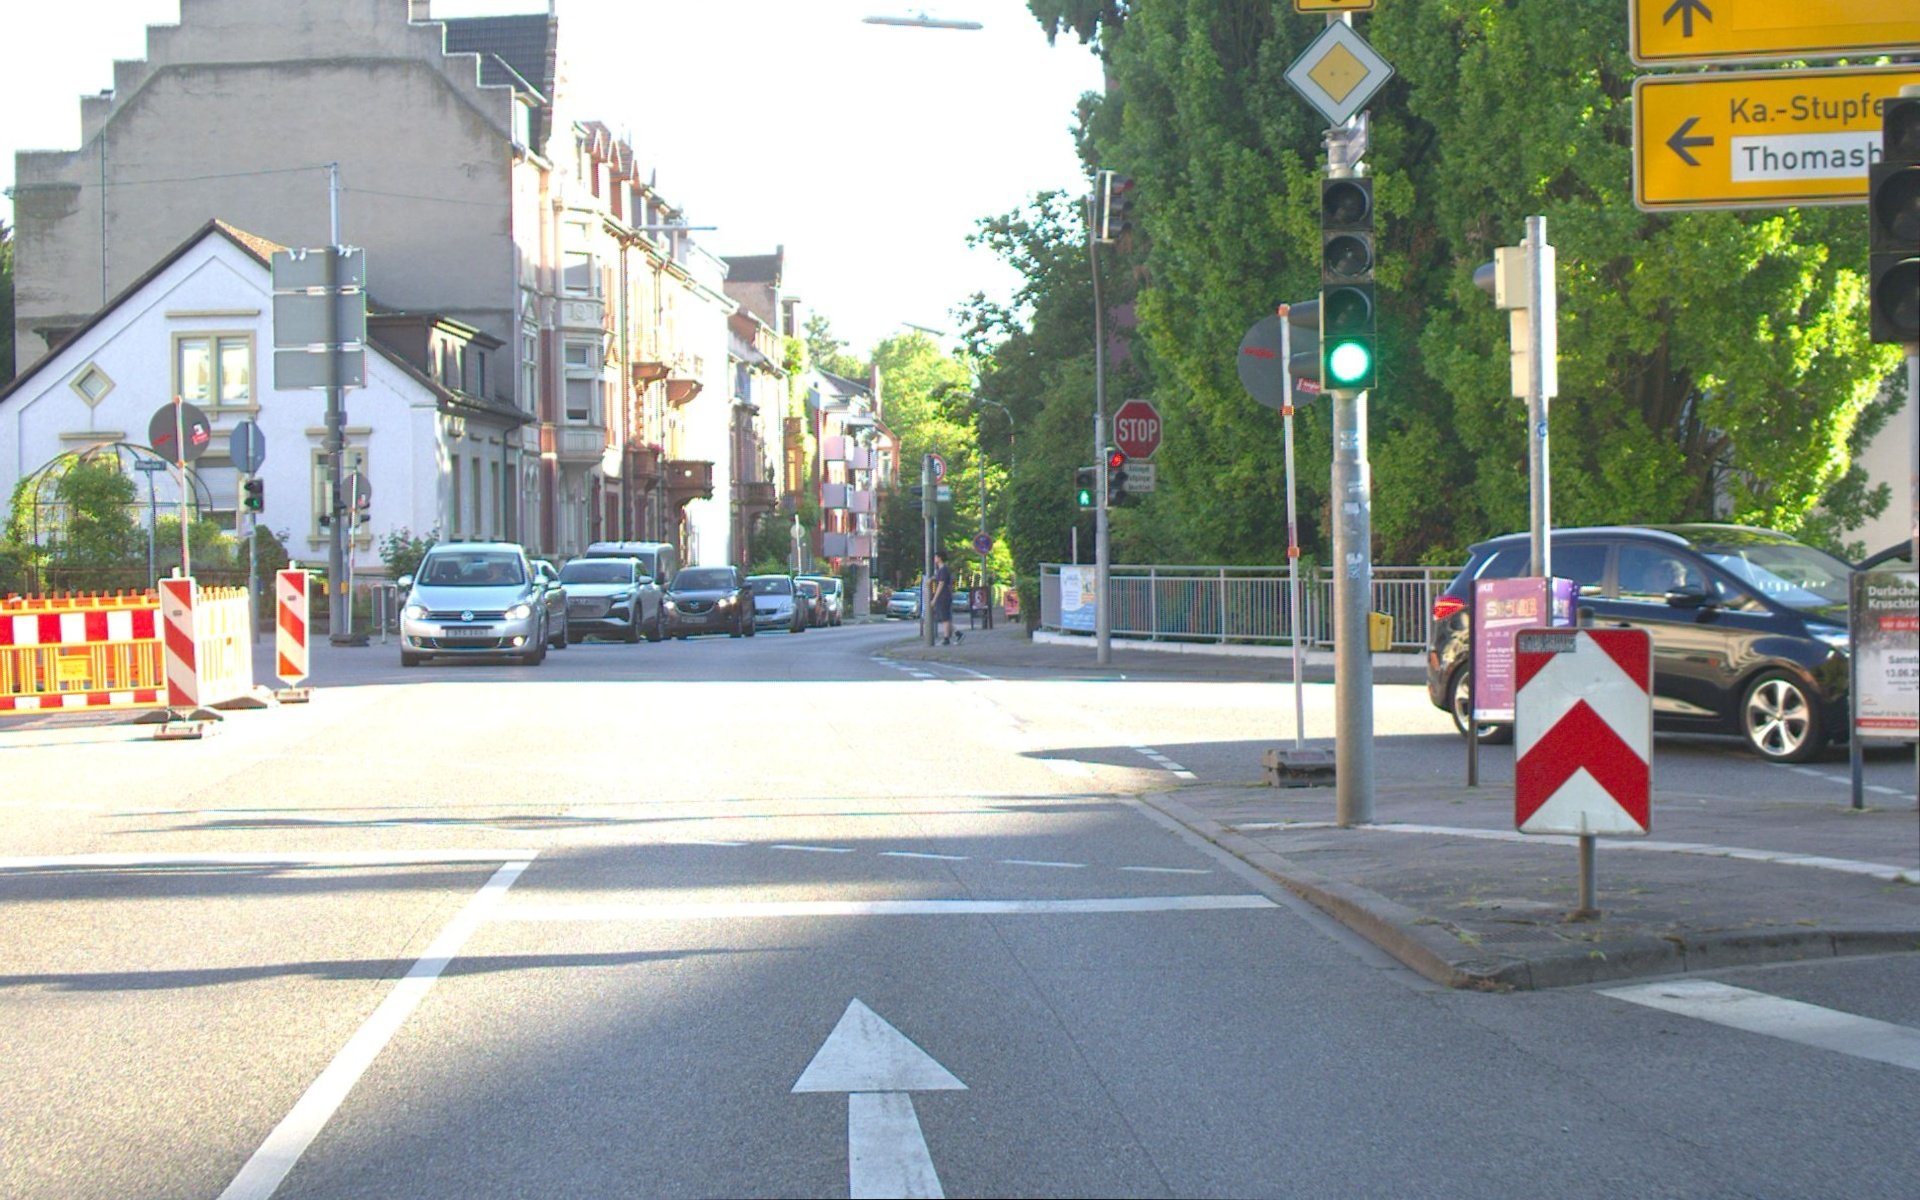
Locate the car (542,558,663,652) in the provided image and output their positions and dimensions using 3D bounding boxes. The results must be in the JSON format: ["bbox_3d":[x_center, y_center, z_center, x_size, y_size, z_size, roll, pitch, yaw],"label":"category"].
[{"bbox_3d":[-6.734,0.060,65.153,1.775,1.643,4.535,1,1,0],"label":"car"}]

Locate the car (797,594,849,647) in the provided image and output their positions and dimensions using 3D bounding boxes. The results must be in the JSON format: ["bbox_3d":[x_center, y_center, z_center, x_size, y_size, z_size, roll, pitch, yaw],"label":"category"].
[{"bbox_3d":[-5.488,0.803,138.240,1.793,2.003,4.697,1,1,1],"label":"car"}]

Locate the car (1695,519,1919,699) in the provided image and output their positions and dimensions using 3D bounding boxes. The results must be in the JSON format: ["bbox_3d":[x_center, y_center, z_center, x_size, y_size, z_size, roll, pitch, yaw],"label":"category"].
[{"bbox_3d":[9.554,0.116,32.632,4.661,1.664,1.995,1,-1,44],"label":"car"}]

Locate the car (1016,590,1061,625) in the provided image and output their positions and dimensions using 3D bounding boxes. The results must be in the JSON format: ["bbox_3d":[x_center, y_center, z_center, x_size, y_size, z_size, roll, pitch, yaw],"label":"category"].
[{"bbox_3d":[3.820,0.355,166.274,1.994,1.512,4.000,-1,1,4],"label":"car"}]

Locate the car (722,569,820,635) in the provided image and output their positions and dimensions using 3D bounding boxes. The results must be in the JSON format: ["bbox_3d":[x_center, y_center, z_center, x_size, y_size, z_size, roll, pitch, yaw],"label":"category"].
[{"bbox_3d":[-5.052,0.027,92.385,1.954,1.643,4.282,1,1,6],"label":"car"}]

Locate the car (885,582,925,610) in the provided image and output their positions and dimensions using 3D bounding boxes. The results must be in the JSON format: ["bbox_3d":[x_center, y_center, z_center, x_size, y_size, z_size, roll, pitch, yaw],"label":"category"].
[{"bbox_3d":[-3.179,-0.228,199.075,1.994,1.486,4.470,-1,1,2],"label":"car"}]

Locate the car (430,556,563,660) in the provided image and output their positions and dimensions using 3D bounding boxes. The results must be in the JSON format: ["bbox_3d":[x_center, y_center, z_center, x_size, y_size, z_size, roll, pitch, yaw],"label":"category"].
[{"bbox_3d":[-7.141,0.097,53.252,1.775,1.475,4.097,1,1,-4],"label":"car"}]

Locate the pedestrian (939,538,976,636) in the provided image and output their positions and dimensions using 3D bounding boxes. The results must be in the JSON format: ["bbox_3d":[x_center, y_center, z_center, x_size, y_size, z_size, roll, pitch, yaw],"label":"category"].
[{"bbox_3d":[-0.039,-0.228,60.221,0.602,1.687,0.612,-1,1,1],"label":"pedestrian"}]

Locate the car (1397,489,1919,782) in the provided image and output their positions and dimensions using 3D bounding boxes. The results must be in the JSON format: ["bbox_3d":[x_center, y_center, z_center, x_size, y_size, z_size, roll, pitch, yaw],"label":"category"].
[{"bbox_3d":[5.356,0.158,24.548,1.994,1.809,4.251,-5,4,-36],"label":"car"}]

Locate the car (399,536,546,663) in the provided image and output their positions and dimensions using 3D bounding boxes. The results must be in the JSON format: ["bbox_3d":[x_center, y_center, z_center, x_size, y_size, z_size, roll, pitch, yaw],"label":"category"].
[{"bbox_3d":[-6.384,-0.040,44.735,1.775,1.537,4.001,0,1,-10],"label":"car"}]

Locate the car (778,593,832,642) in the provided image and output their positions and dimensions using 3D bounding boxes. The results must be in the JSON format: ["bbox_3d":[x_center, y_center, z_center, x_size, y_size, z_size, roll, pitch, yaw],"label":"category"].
[{"bbox_3d":[-5.690,0.636,126.700,1.702,1.732,3.857,1,1,1],"label":"car"}]

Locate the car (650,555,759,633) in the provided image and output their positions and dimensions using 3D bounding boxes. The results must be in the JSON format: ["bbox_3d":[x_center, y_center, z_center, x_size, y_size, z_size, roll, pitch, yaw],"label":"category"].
[{"bbox_3d":[-5.774,-0.160,78.233,1.953,1.643,4.283,1,1,3],"label":"car"}]
